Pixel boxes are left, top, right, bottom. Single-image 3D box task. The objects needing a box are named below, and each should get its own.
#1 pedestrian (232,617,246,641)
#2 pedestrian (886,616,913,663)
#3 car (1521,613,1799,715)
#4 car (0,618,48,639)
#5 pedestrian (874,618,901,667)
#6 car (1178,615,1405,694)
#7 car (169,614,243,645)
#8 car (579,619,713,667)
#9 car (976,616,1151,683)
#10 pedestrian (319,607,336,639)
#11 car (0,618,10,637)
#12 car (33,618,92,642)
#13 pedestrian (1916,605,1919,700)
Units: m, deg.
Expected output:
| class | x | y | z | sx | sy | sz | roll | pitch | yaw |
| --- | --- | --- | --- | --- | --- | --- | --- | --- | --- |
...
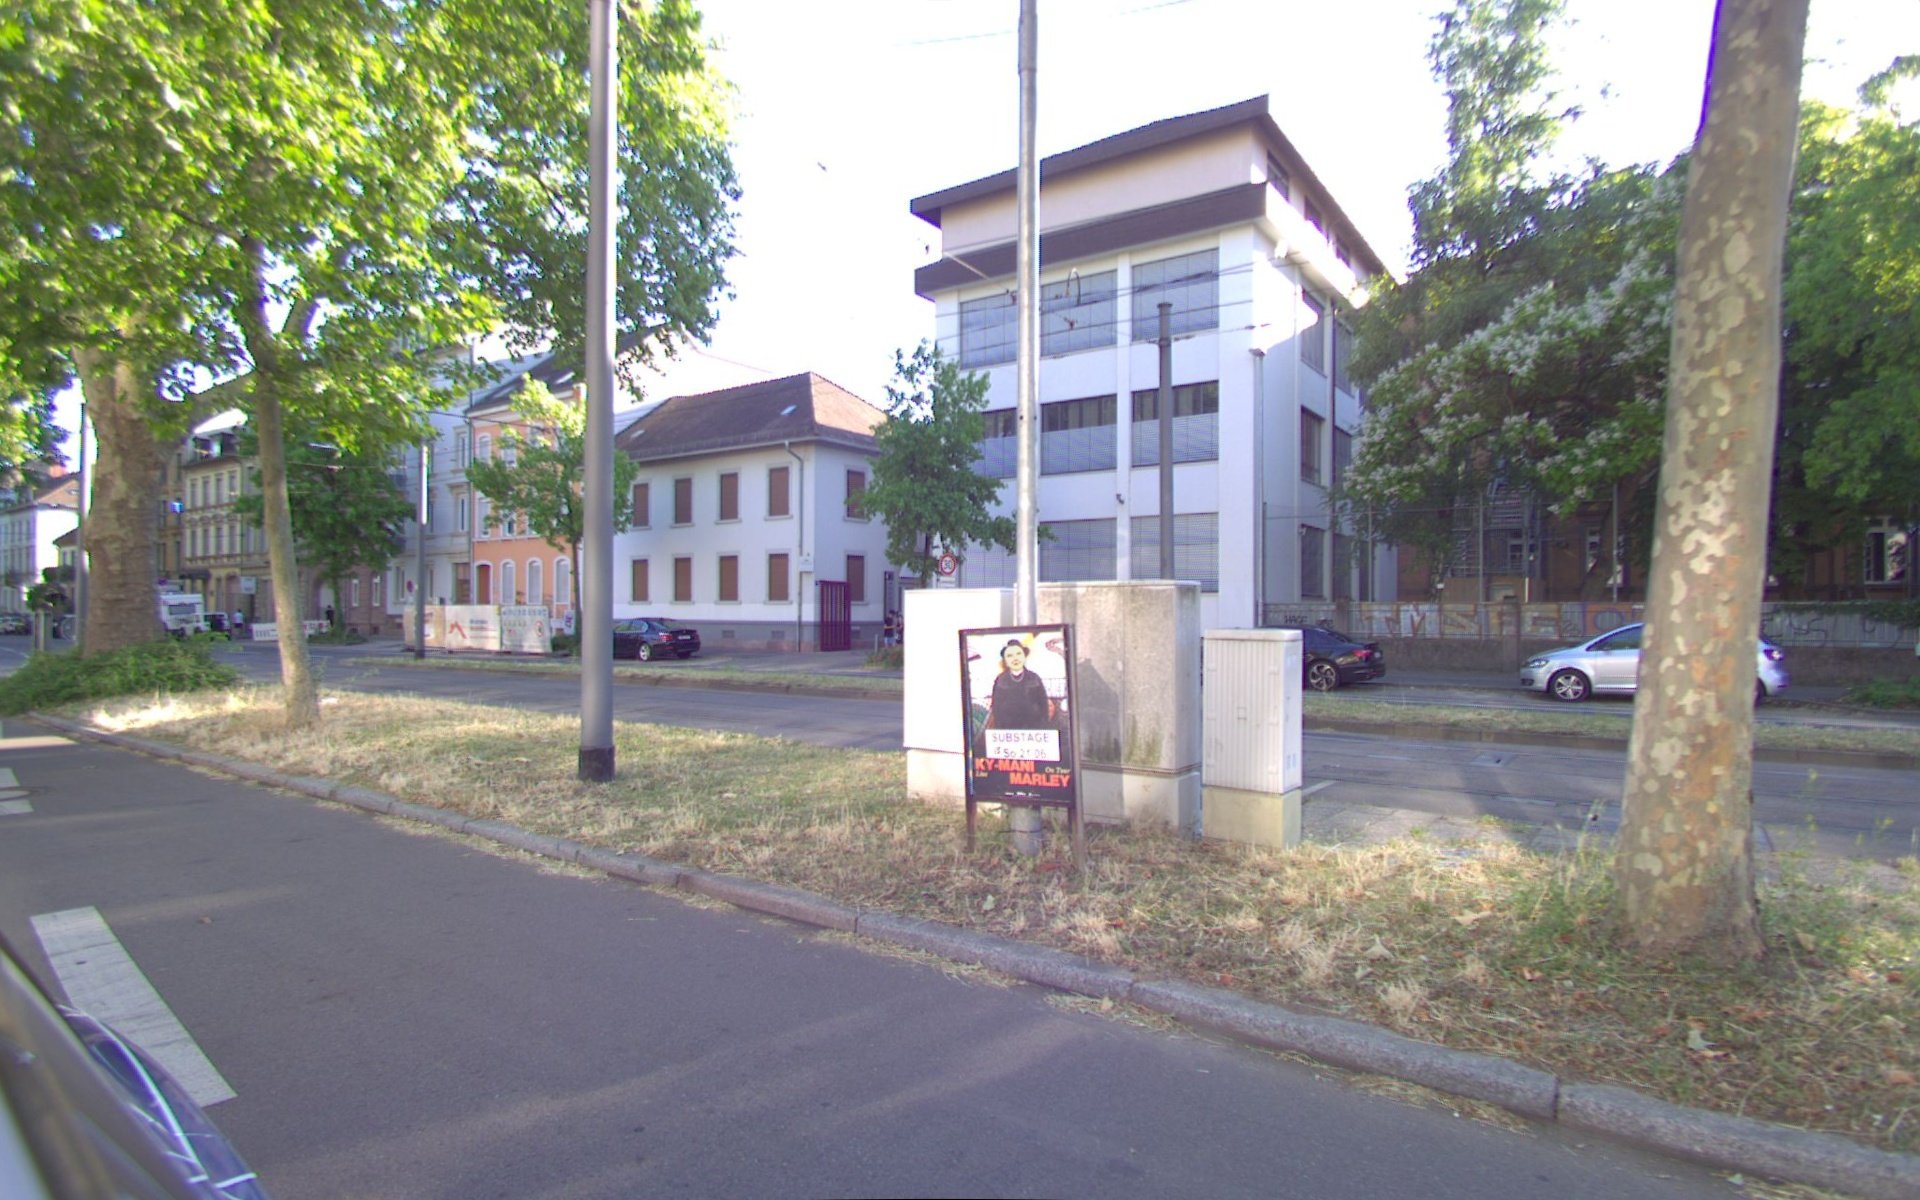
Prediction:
| class | x | y | z | sx | sy | sz | roll | pitch | yaw |
| --- | --- | --- | --- | --- | --- | --- | --- | --- | --- |
| pedestrian | -46.392 | 1.850 | 65.095 | 0.615 | 1.540 | 0.632 | -1 | -2 | 43 |
| pedestrian | -1.982 | 1.285 | 33.066 | 0.710 | 1.540 | 0.531 | -1 | -2 | 35 |
| car | 12.945 | 1.112 | 19.015 | 4.086 | 1.631 | 2.065 | -1 | 1 | 33 |
| car | -74.231 | 2.225 | 79.939 | 5.091 | 1.551 | 2.065 | -1 | 1 | 34 |
| pedestrian | -2.302 | 1.336 | 32.138 | 0.709 | 1.540 | 0.532 | -1 | -2 | 29 |
| car | 7.371 | 1.143 | 22.601 | 4.445 | 1.513 | 2.065 | -1 | 1 | 33 |
| car | -44.458 | 1.703 | 59.659 | 4.520 | 1.686 | 2.065 | -1 | 1 | 33 |
| car | -11.056 | 1.457 | 35.578 | 4.566 | 1.481 | 2.065 | -1 | 1 | 33 |
| car | 2.653 | 1.216 | 26.053 | 3.986 | 1.501 | 2.065 | -1 | 1 | 33 |
| pedestrian | -36.239 | 1.325 | 58.016 | 0.703 | 1.823 | 0.555 | -1 | -2 | 34 |
| car | -81.680 | 2.306 | 84.871 | 4.027 | 1.551 | 2.065 | -1 | 1 | 33 |
| car | -63.845 | 2.141 | 71.979 | 4.504 | 1.551 | 2.065 | -1 | 1 | 33 |
| pedestrian | 17.291 | 0.937 | 17.776 | 0.630 | 1.677 | 0.563 | -1 | 1 | 34 |
